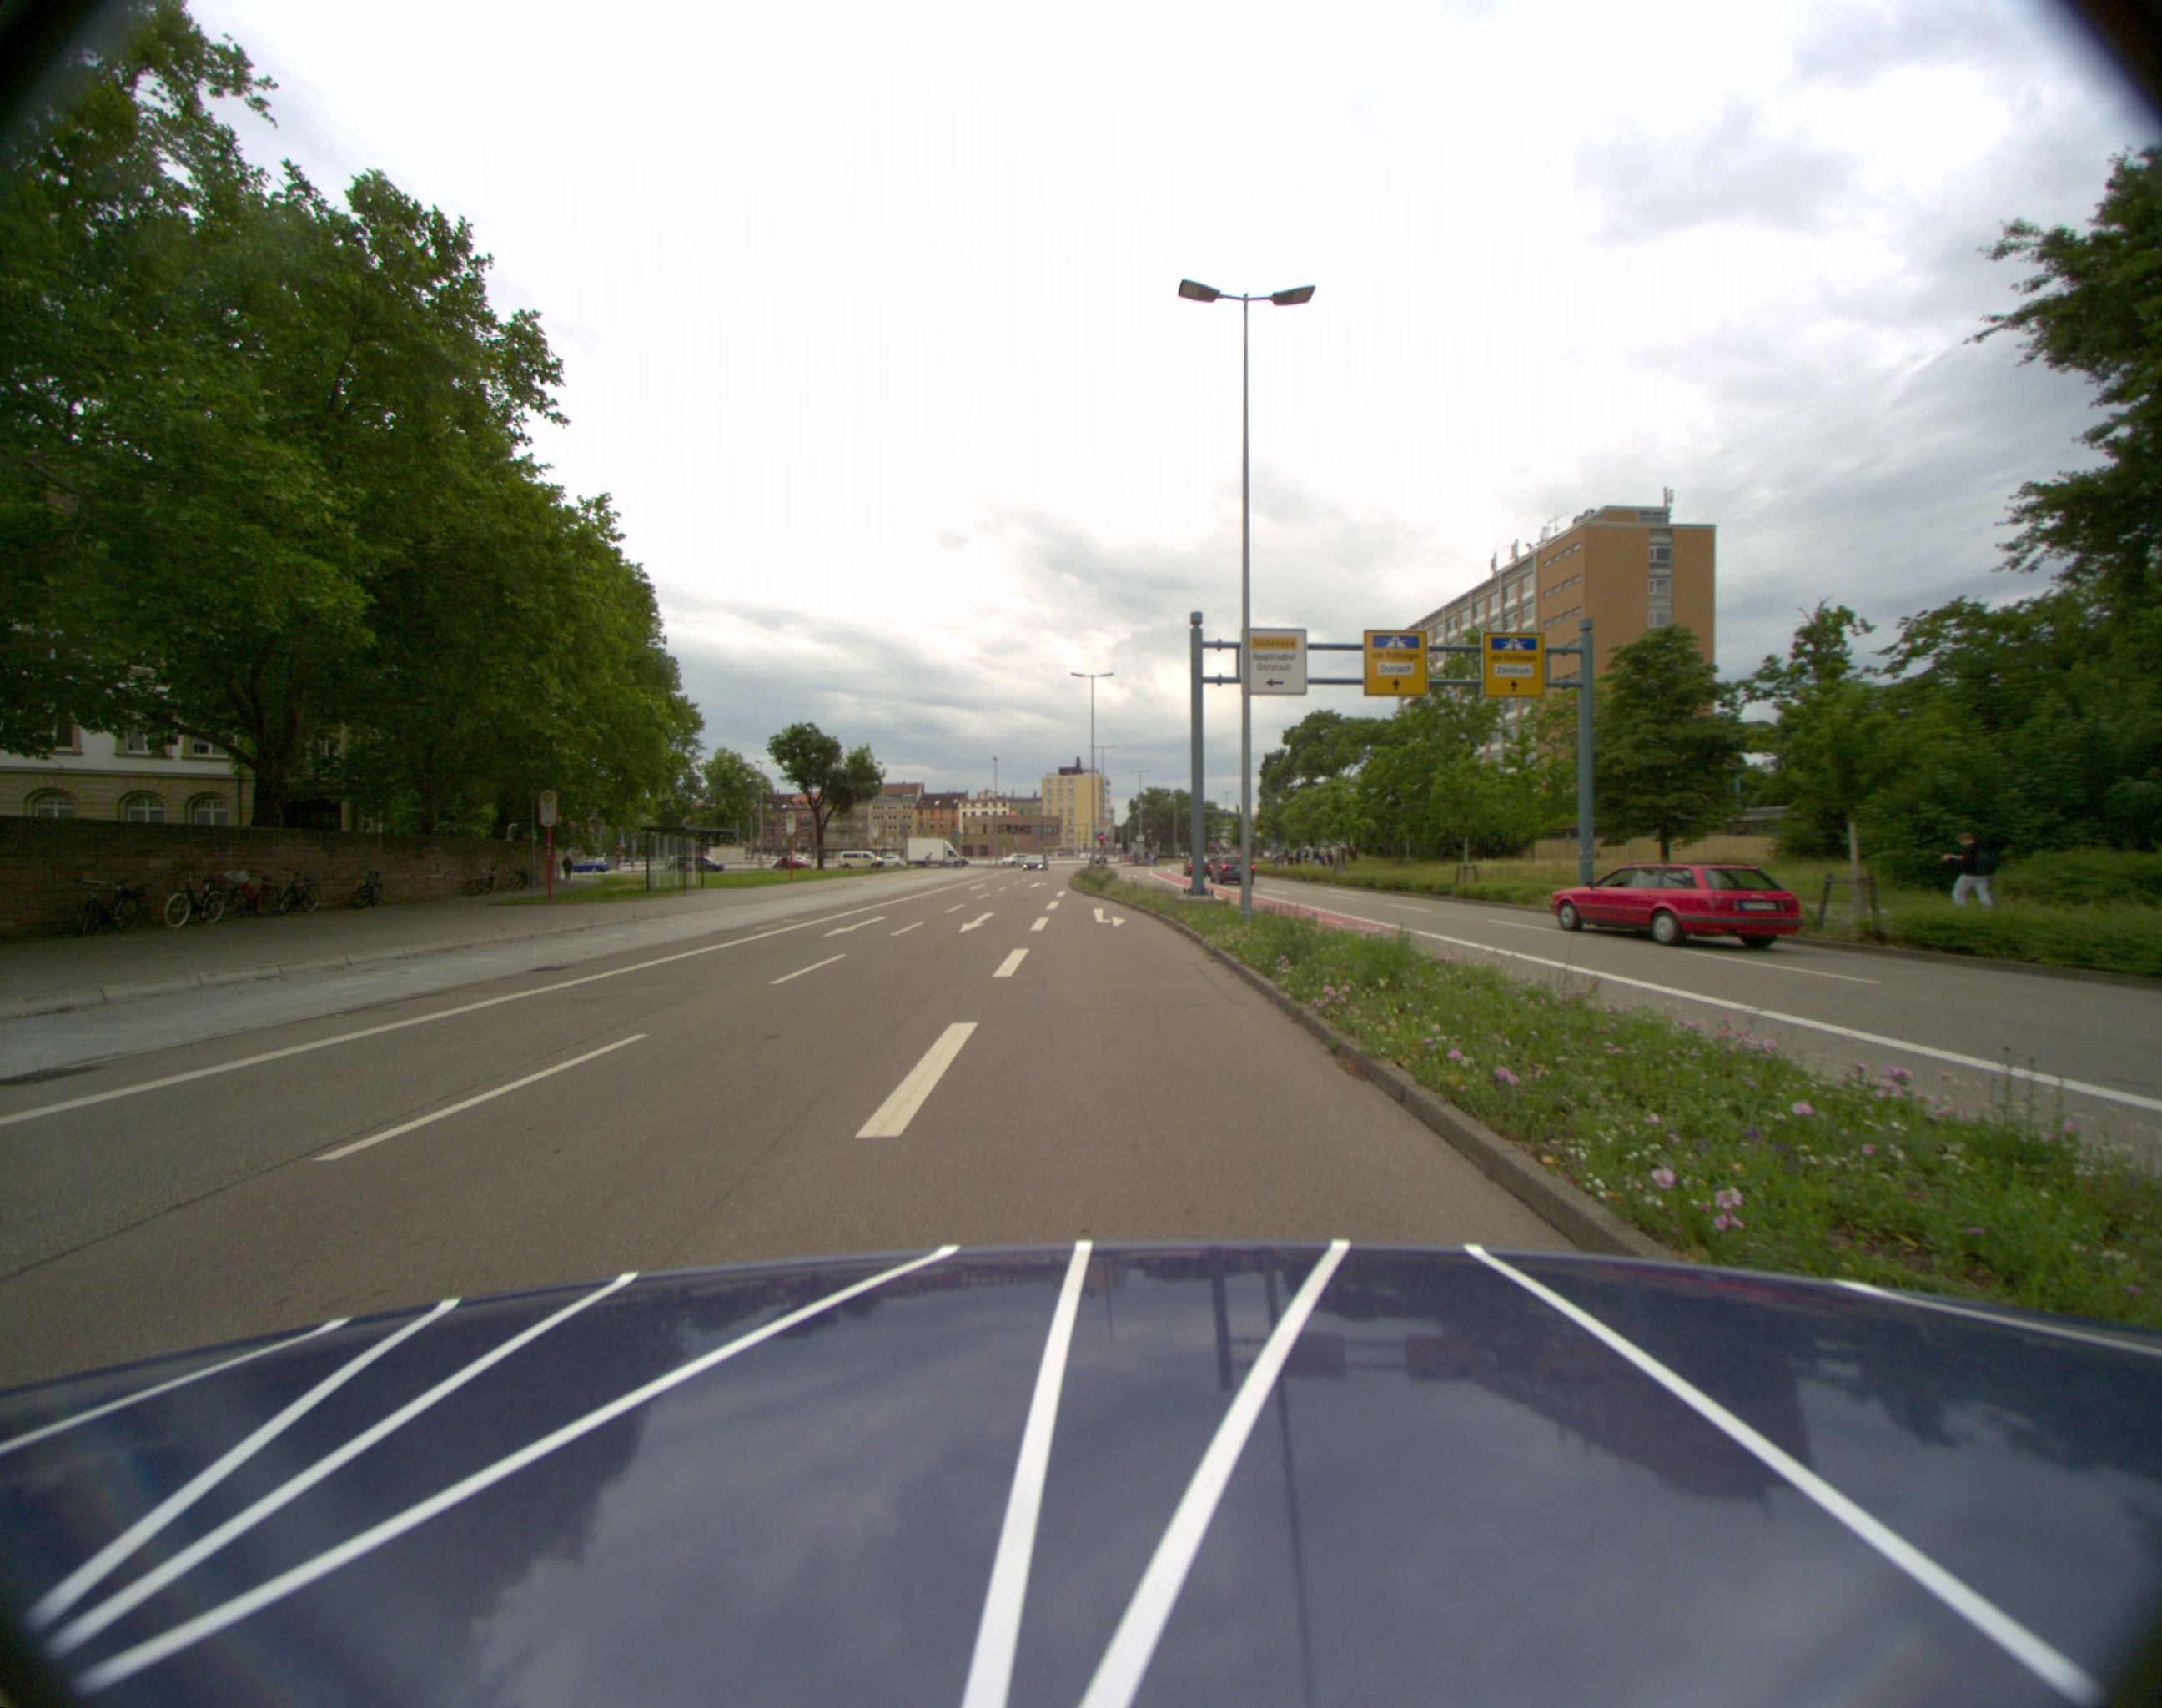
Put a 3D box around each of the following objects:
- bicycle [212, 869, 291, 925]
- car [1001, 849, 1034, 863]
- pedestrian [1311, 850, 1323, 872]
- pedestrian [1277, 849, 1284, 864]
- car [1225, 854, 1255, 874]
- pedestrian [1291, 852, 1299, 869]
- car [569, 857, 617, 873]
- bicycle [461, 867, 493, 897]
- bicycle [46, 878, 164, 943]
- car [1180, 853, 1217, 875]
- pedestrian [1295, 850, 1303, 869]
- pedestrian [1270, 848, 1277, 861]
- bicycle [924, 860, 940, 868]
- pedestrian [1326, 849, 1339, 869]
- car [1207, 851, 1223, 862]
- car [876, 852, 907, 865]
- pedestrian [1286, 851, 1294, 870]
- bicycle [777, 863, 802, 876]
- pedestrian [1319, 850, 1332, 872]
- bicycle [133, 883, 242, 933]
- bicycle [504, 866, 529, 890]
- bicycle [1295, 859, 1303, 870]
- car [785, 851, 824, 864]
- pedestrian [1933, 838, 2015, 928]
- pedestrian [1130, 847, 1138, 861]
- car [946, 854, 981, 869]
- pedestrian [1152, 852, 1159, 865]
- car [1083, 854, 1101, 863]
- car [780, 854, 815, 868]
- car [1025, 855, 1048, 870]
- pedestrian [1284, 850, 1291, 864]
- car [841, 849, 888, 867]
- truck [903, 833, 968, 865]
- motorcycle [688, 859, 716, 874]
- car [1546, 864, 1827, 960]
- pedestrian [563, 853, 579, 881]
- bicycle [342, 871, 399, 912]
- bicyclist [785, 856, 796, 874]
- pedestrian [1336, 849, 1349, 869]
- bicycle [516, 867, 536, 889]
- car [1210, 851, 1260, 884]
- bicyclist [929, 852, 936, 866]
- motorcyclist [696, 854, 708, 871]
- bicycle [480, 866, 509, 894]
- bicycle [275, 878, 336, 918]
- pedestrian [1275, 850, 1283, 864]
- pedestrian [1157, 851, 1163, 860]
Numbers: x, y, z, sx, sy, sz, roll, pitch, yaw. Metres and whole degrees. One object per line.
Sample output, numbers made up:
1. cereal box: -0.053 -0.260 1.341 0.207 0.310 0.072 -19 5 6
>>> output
1. bicycle: -19.592 0.986 17.994 0.501 1.214 1.624 1 0 -17
2. car: -7.928 0.231 94.684 1.834 1.753 3.920 1 0 43
3. pedestrian: 18.368 0.527 59.185 0.587 1.650 0.720 1 0 -5
4. pedestrian: 23.915 0.284 90.953 0.638 1.790 0.762 -1 0 4
5. car: 11.729 0.730 56.301 1.611 1.373 3.809 1 0 4
6. pedestrian: 20.810 0.633 73.938 0.579 1.702 0.763 1 0 22
7. car: -56.954 1.299 88.757 4.429 1.735 1.764 1 0 -2
8. bicycle: -23.681 1.083 29.814 0.596 1.129 1.709 1 0 -25
9. bicycle: -18.462 1.039 14.431 0.722 1.093 1.788 1 0 -28
10. car: 8.569 0.687 55.893 1.768 1.452 4.790 1 1 -2
11. pedestrian: 18.816 0.510 65.536 0.661 1.622 0.764 1 0 16
12. pedestrian: 24.338 0.072 96.214 0.708 1.661 0.890 -2 0 4
13. bicycle: -16.302 1.086 83.139 1.695 0.910 0.767 1 0 -10
14. pedestrian: 17.449 0.322 52.796 0.646 1.350 0.711 1 0 -1
15. car: 22.931 0.430 130.287 1.812 1.657 3.955 1 1 23
16. car: -22.498 0.539 90.430 3.431 1.382 1.518 1 0 -6
17. pedestrian: 18.096 0.546 65.742 0.575 1.599 0.617 1 0 16
18. bicycle: -31.468 1.697 82.076 2.391 1.316 0.764 1 0 -6
19. pedestrian: 19.051 0.535 59.249 0.709 1.663 0.767 1 0 -5
20. bicycle: -19.043 1.124 16.256 0.656 0.945 1.767 1 0 -17
21. bicycle: -25.667 1.083 34.571 0.596 1.053 1.709 1 0 -25
22. bicycle: 18.811 0.900 65.539 0.661 0.882 1.717 1 0 16
23. car: -32.615 0.448 89.790 4.032 1.466 1.819 1 0 -9
24. pedestrian: 17.659 0.563 15.044 0.621 1.719 0.818 1 0 0
25. pedestrian: 6.911 -0.040 99.683 0.917 1.794 0.541 1 1 17
26. car: -14.092 0.927 91.440 3.999 1.674 1.766 1 0 -6
27. pedestrian: 9.842 0.560 100.099 0.777 1.657 0.706 1 0 -8
28. car: 1.774 0.665 118.794 1.782 1.255 3.536 -1 1 19
29. car: -31.716 0.797 84.963 3.431 1.372 1.288 -1 -7 -5
30. car: -3.895 0.741 66.790 1.785 1.255 3.830 -1 1 -1
31. pedestrian: 22.104 0.303 81.382 0.637 1.471 0.762 1 0 4
32. car: -24.168 0.455 85.076 4.712 1.909 1.919 -1 3 -3
33. truck: -16.281 -0.584 85.534 6.852 3.393 2.559 -1 2 -5
34. motorcycle: -40.722 1.317 81.670 2.515 1.592 0.928 1 0 -12
35. car: 10.648 0.917 13.860 1.718 1.410 4.294 0 0 1
36. pedestrian: -31.605 0.797 47.058 0.759 1.725 0.820 1 1 -39
37. bicycle: -20.515 1.051 21.974 0.599 1.098 1.652 1 0 -19
38. bicyclist: -31.392 1.179 82.082 0.896 1.849 0.764 1 0 -5
39. pedestrian: 18.153 0.345 52.775 0.646 1.354 0.680 1 0 -2
40. bicycle: -26.379 1.111 36.141 0.552 0.986 1.633 1 0 -28
41. car: 8.393 0.709 41.756 1.925 1.655 4.398 1 1 1
42. bicyclist: -16.254 0.506 83.150 0.740 1.499 0.767 1 0 -10
43. motorcyclist: -40.714 0.929 81.651 0.918 1.818 0.928 1 0 -12
44. bicycle: -24.251 1.065 31.458 0.596 1.123 1.709 1 0 -25
45. bicycle: -20.126 1.122 19.754 0.417 0.937 1.523 1 0 -17
46. pedestrian: 21.143 0.285 81.195 0.730 1.471 0.813 1 0 4
47. pedestrian: 16.679 0.291 160.436 0.987 2.002 0.909 1 0 18
